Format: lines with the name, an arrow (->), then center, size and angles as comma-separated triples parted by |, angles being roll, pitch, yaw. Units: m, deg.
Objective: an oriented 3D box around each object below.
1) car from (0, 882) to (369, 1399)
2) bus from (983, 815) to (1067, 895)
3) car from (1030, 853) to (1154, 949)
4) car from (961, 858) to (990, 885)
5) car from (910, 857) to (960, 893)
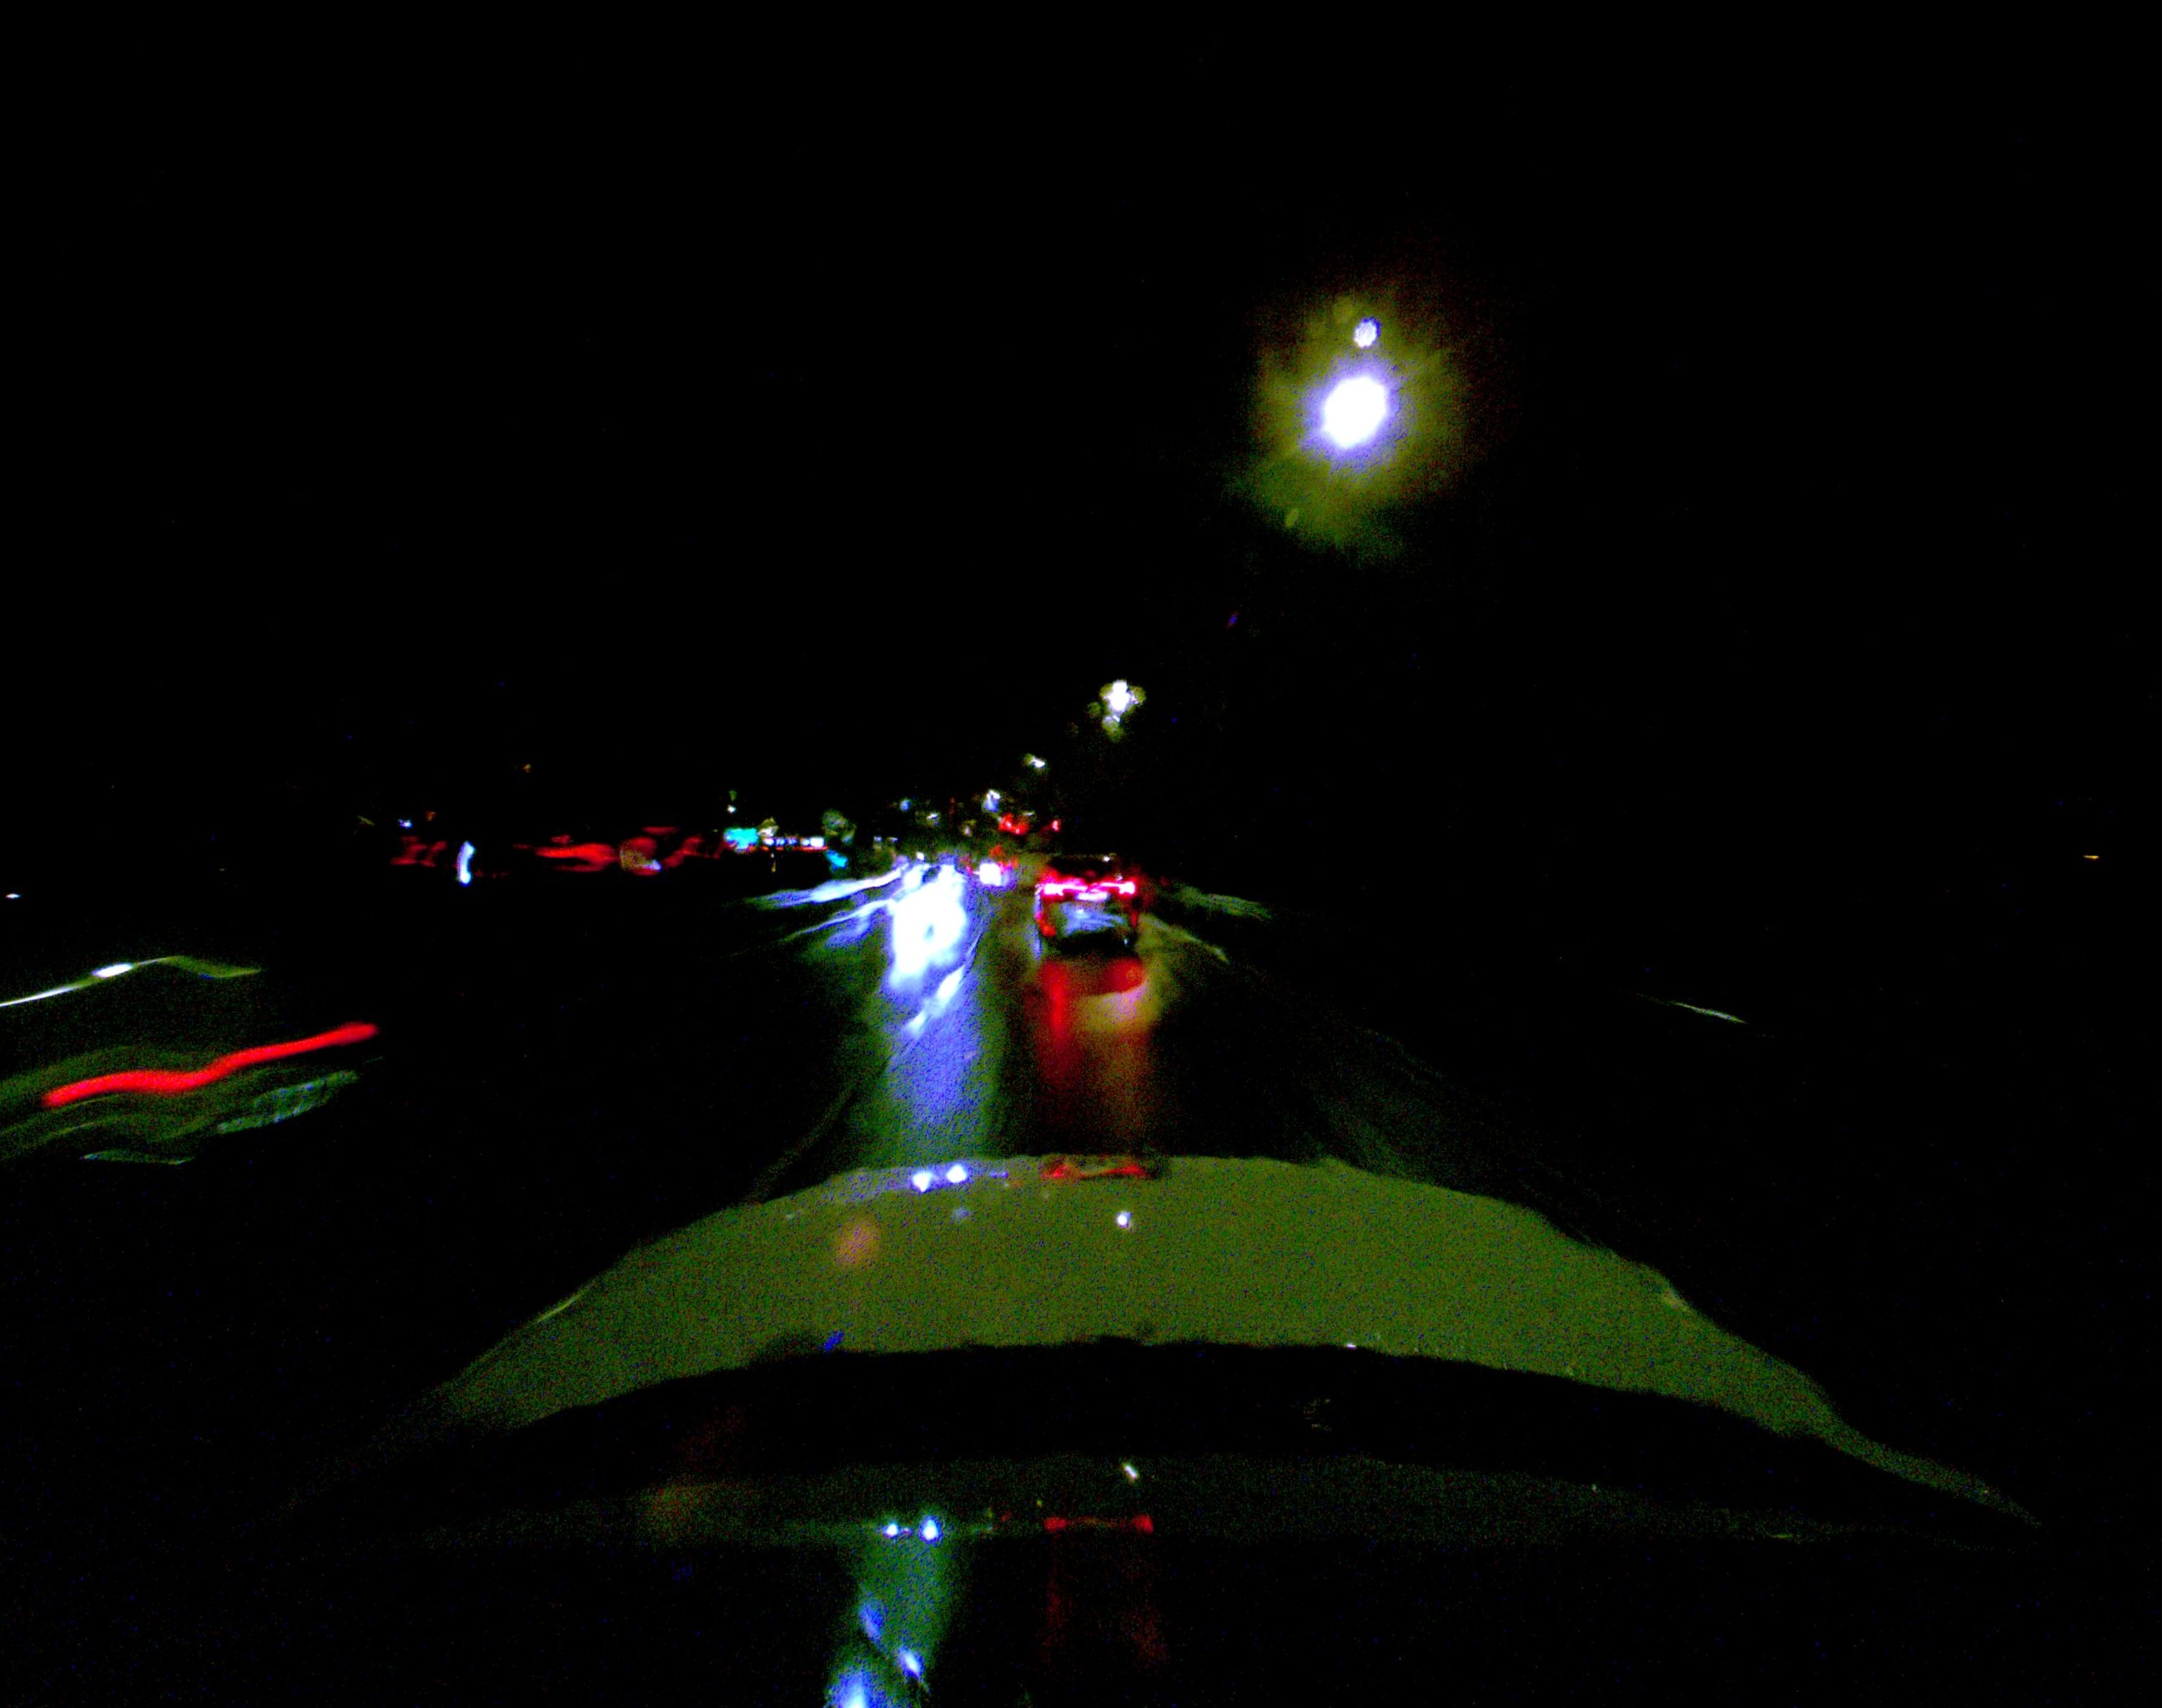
car -> -3.898, 0.838, 1.506 | 1.723, 1.405, 3.863 | -1, 0, 0
bus -> -2.811, 0.067, 37.723 | 3.043, 3.212, 9.022 | -1, 0, -9
car -> 0.195, 0.753, 15.064 | 1.987, 1.524, 4.000 | 0, 0, 0
car -> -10.240, 1.645, 78.722 | 2.697, 2.478, 5.289 | -1, 0, -9
car -> -6.331, 0.906, 35.774 | 1.790, 1.392, 4.581 | -2, -1, -6
